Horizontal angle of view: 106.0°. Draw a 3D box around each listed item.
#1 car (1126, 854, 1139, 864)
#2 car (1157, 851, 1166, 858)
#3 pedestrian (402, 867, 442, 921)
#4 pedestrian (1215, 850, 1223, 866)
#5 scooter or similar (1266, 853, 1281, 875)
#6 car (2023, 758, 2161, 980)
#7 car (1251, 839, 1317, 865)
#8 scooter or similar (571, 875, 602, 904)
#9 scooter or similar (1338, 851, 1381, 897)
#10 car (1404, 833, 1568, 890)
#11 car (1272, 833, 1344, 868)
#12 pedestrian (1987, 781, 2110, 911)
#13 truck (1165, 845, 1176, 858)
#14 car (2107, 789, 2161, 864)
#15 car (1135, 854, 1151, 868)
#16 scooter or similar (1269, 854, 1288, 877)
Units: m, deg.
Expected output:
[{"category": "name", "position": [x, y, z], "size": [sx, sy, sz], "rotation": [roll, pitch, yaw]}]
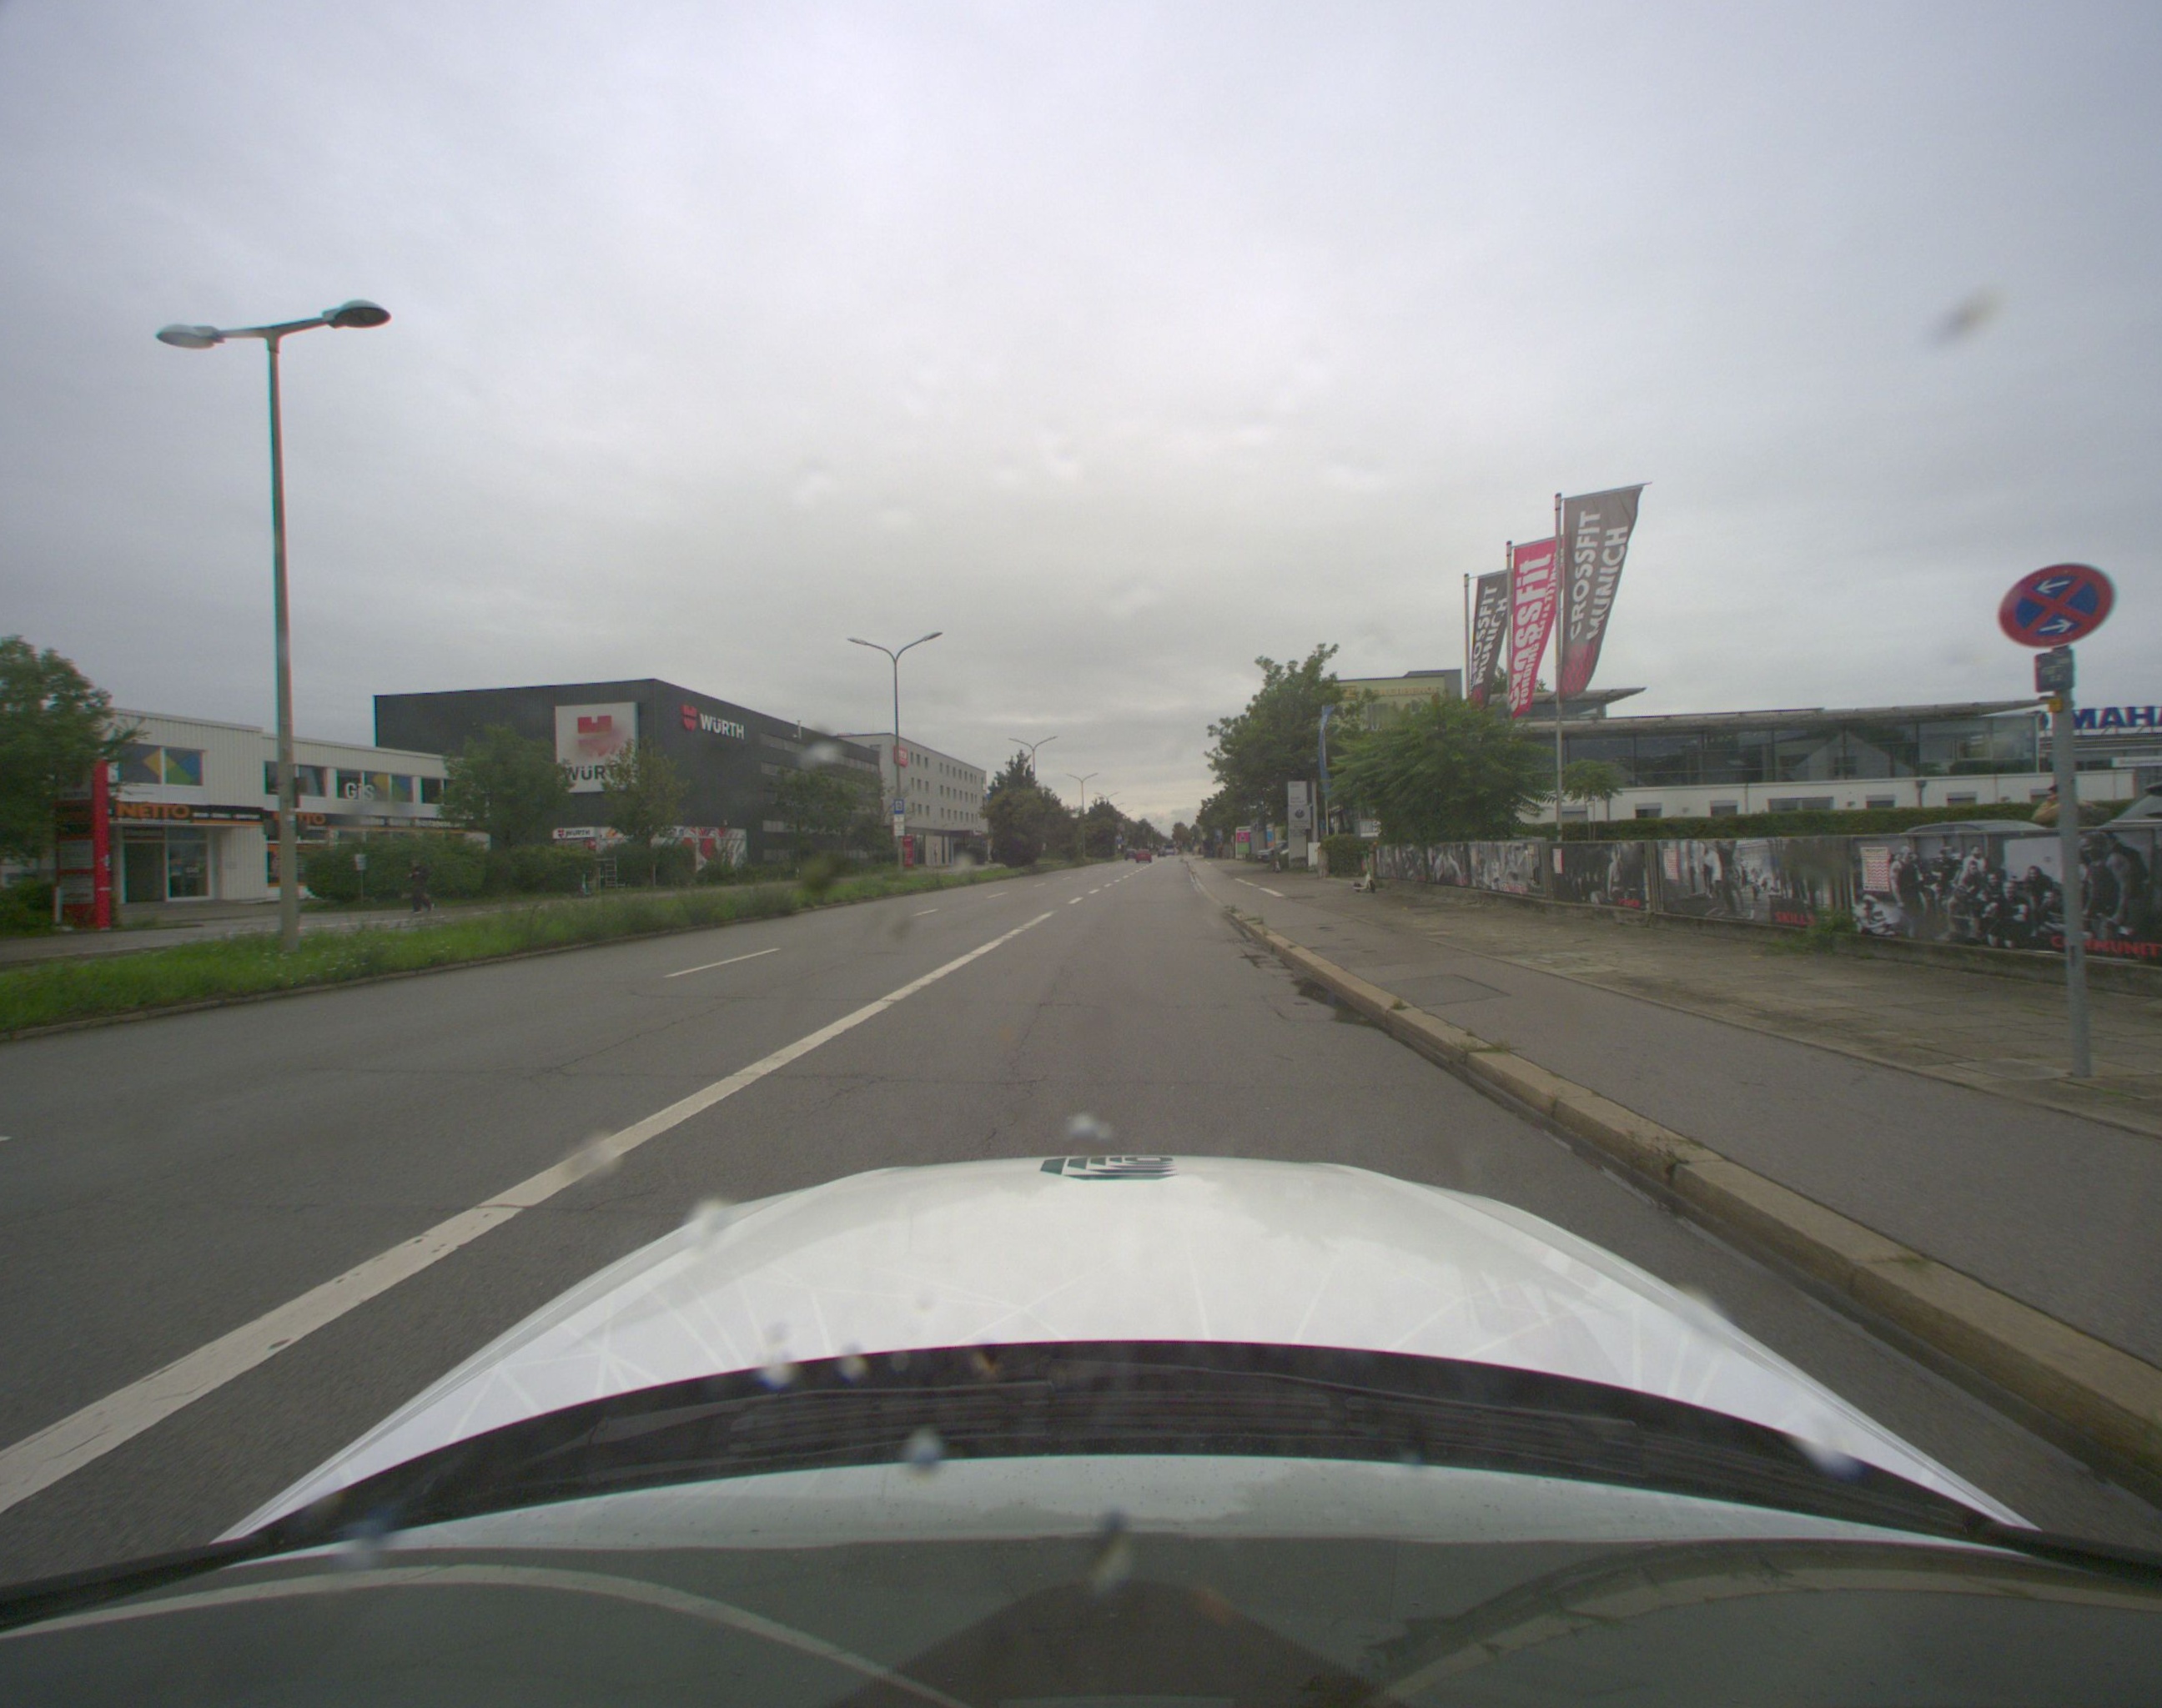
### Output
[{"category": "car", "position": [7.968, 0.690, 125.113], "size": [1.794, 1.432, 4.006], "rotation": [-2, 0, 5]}, {"category": "car", "position": [17.183, 0.156, 173.287], "size": [1.794, 1.432, 4.006], "rotation": [-2, 0, 5]}, {"category": "pedestrian", "position": [-22.947, 1.374, 28.374], "size": [0.619, 1.830, 0.819], "rotation": [-2, 0, 7]}, {"category": "pedestrian", "position": [16.032, 0.461, 94.615], "size": [0.755, 1.728, 0.896], "rotation": [-6, -1, 3]}, {"category": "scooter or similar", "position": [10.943, 0.568, 46.361], "size": [0.493, 1.204, 1.431], "rotation": [-5, 0, 4]}, {"category": "car", "position": [10.443, 0.055, 6.204], "size": [4.077, 1.726, 1.930], "rotation": [-2, 0, 5]}, {"category": "car", "position": [16.064, -0.116, 64.364], "size": [4.596, 1.706, 1.997], "rotation": [-4, -1, -14]}, {"category": "scooter or similar", "position": [-22.443, 1.611, 36.970], "size": [0.443, 1.227, 1.389], "rotation": [-2, 0, 5]}, {"category": "scooter or similar", "position": [7.911, 0.572, 23.189], "size": [0.396, 1.223, 1.636], "rotation": [-4, -1, -6]}, {"category": "car", "position": [11.933, 0.218, 24.221], "size": [3.993, 1.460, 1.796], "rotation": [-2, 0, 6]}, {"category": "car", "position": [15.489, -0.222, 55.515], "size": [4.206, 2.014, 1.975], "rotation": [-5, -1, 31]}, {"category": "pedestrian", "position": [14.841, -0.121, 12.524], "size": [0.730, 1.901, 0.932], "rotation": [-2, 0, 2]}, {"category": "truck", "position": [25.263, -0.727, 229.788], "size": [2.954, 3.285, 7.927], "rotation": [-2, 0, 5]}, {"category": "car", "position": [27.981, -0.727, 19.223], "size": [1.910, 1.903, 4.697], "rotation": [-2, 0, 7]}, {"category": "car", "position": [7.709, 0.854, 100.577], "size": [1.853, 1.618, 4.006], "rotation": [-1, -1, 5]}, {"category": "scooter or similar", "position": [10.709, 0.613, 44.148], "size": [0.495, 1.204, 1.428], "rotation": [-5, -1, -3]}]
